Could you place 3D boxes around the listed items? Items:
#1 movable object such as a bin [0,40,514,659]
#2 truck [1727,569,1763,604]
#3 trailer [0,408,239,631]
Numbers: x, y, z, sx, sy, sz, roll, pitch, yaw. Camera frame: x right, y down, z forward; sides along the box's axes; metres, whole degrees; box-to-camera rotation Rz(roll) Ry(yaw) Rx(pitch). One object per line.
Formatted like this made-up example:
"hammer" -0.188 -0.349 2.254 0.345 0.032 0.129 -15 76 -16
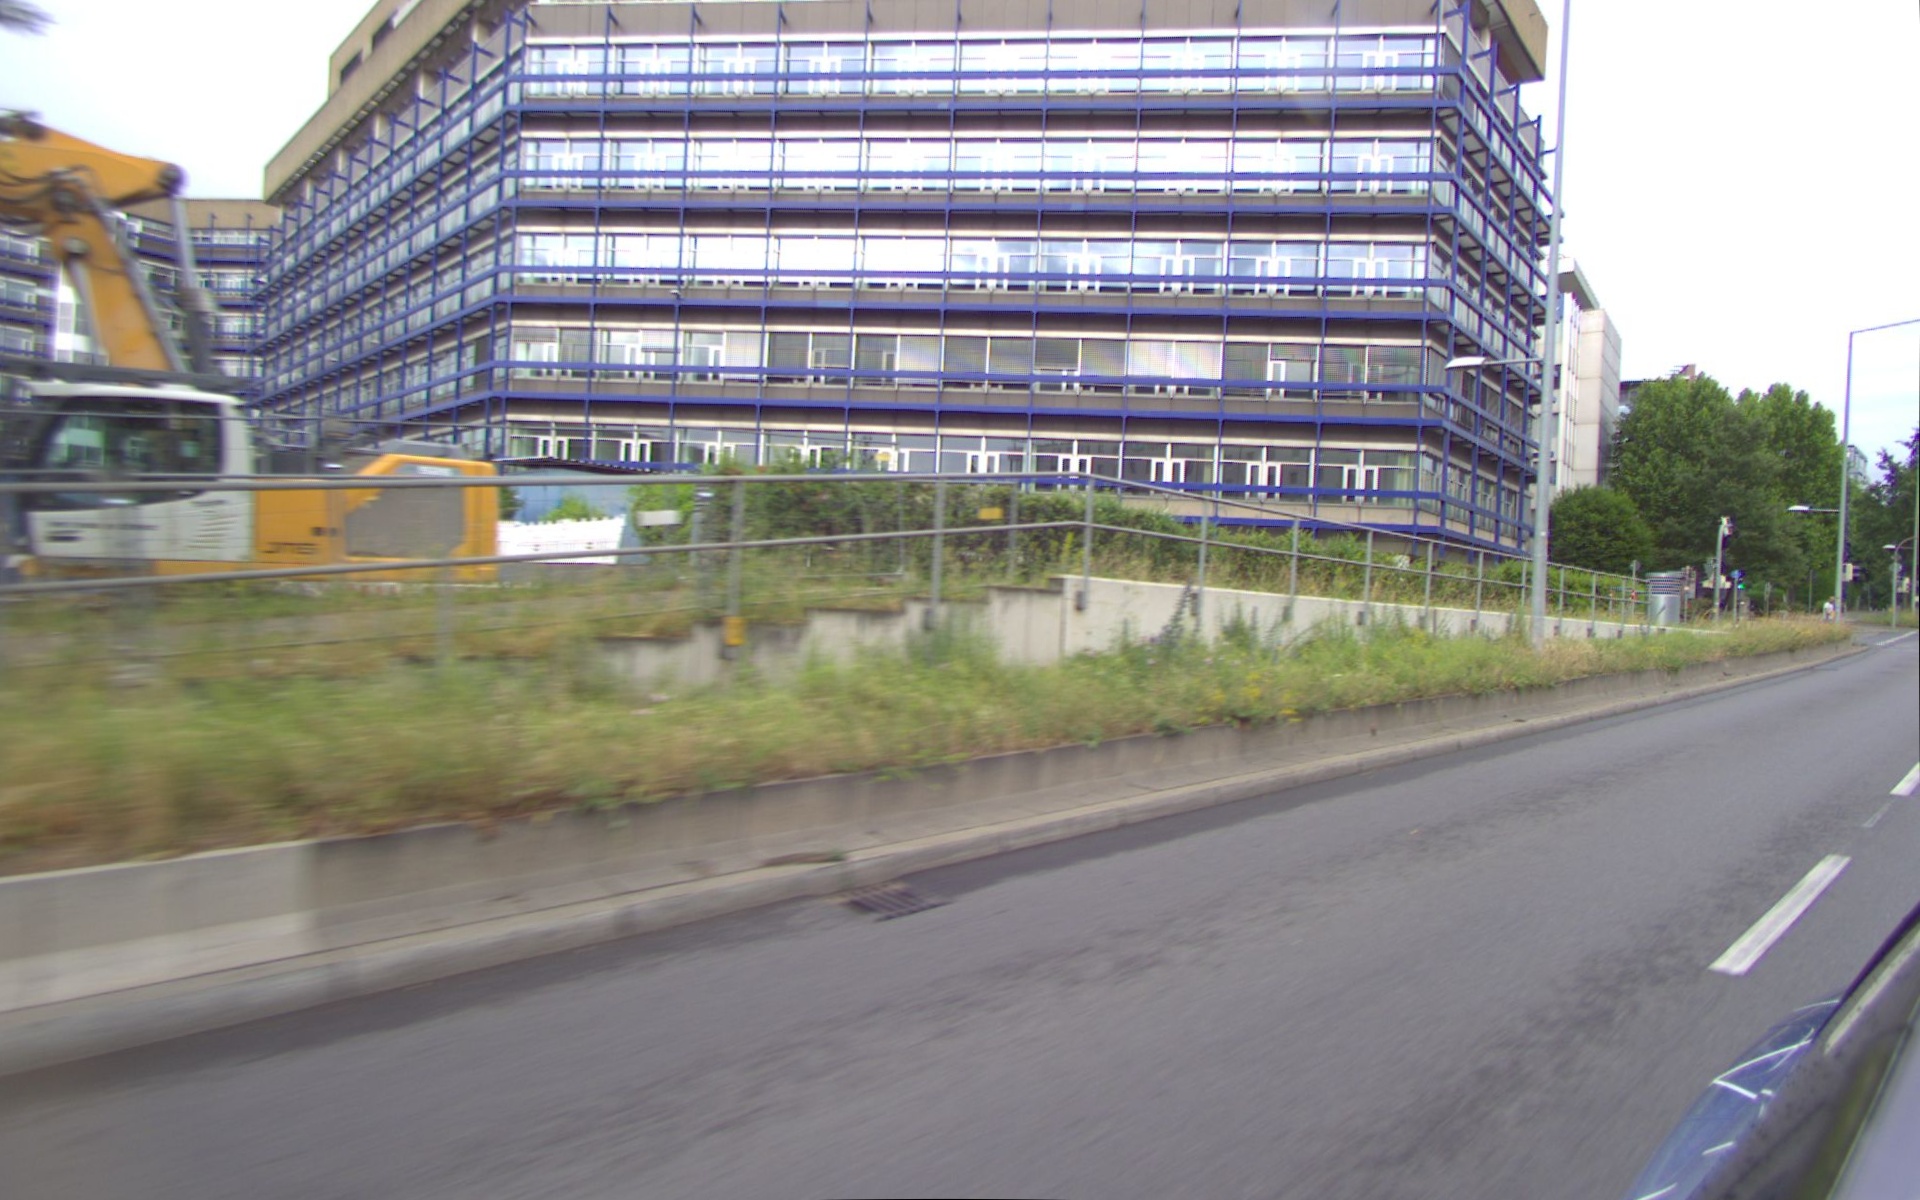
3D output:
"movable object such as a bin" -9.789 -2.338 10.832 8.609 5.756 3.296 -1 0 -40
"truck" 59.478 -1.025 76.670 1.746 2.549 3.938 0 0 43
"trailer" -14.673 -1.097 13.930 2.618 3.081 7.434 0 0 25
